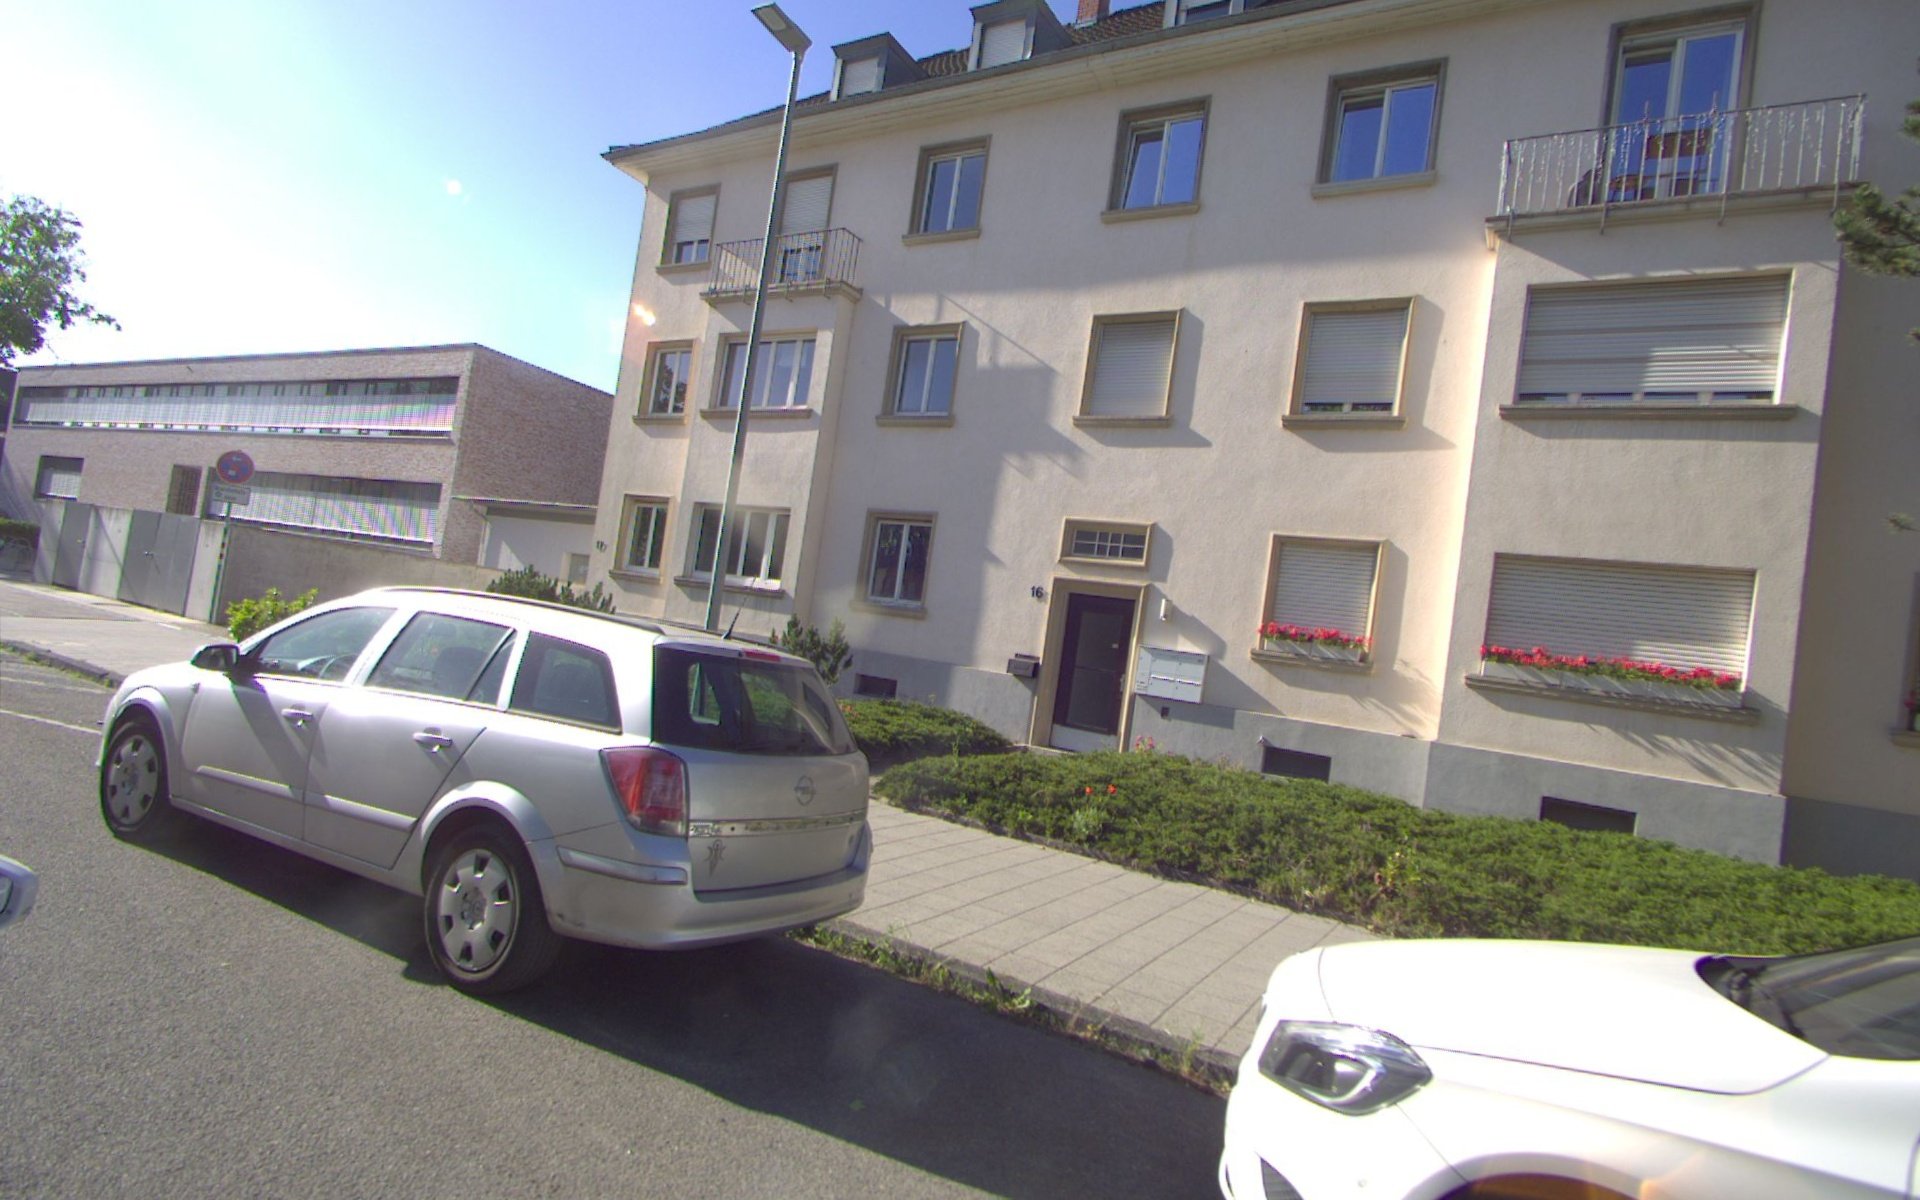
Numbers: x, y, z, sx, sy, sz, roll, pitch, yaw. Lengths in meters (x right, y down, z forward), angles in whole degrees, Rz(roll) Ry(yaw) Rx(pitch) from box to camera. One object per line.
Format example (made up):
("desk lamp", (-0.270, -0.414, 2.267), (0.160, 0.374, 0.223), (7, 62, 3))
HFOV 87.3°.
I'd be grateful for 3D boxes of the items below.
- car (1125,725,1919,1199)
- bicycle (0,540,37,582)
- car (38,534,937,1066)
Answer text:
("car", (2.695, 1.344, 2.114), (4.218, 1.435, 1.801), (6, -6, 32))
("bicycle", (-27.236, -1.189, 28.303), (0.491, 1.040, 1.675), (6, -5, 29))
("car", (-2.492, 0.710, 5.084), (4.334, 1.479, 1.667), (6, -5, 28))
